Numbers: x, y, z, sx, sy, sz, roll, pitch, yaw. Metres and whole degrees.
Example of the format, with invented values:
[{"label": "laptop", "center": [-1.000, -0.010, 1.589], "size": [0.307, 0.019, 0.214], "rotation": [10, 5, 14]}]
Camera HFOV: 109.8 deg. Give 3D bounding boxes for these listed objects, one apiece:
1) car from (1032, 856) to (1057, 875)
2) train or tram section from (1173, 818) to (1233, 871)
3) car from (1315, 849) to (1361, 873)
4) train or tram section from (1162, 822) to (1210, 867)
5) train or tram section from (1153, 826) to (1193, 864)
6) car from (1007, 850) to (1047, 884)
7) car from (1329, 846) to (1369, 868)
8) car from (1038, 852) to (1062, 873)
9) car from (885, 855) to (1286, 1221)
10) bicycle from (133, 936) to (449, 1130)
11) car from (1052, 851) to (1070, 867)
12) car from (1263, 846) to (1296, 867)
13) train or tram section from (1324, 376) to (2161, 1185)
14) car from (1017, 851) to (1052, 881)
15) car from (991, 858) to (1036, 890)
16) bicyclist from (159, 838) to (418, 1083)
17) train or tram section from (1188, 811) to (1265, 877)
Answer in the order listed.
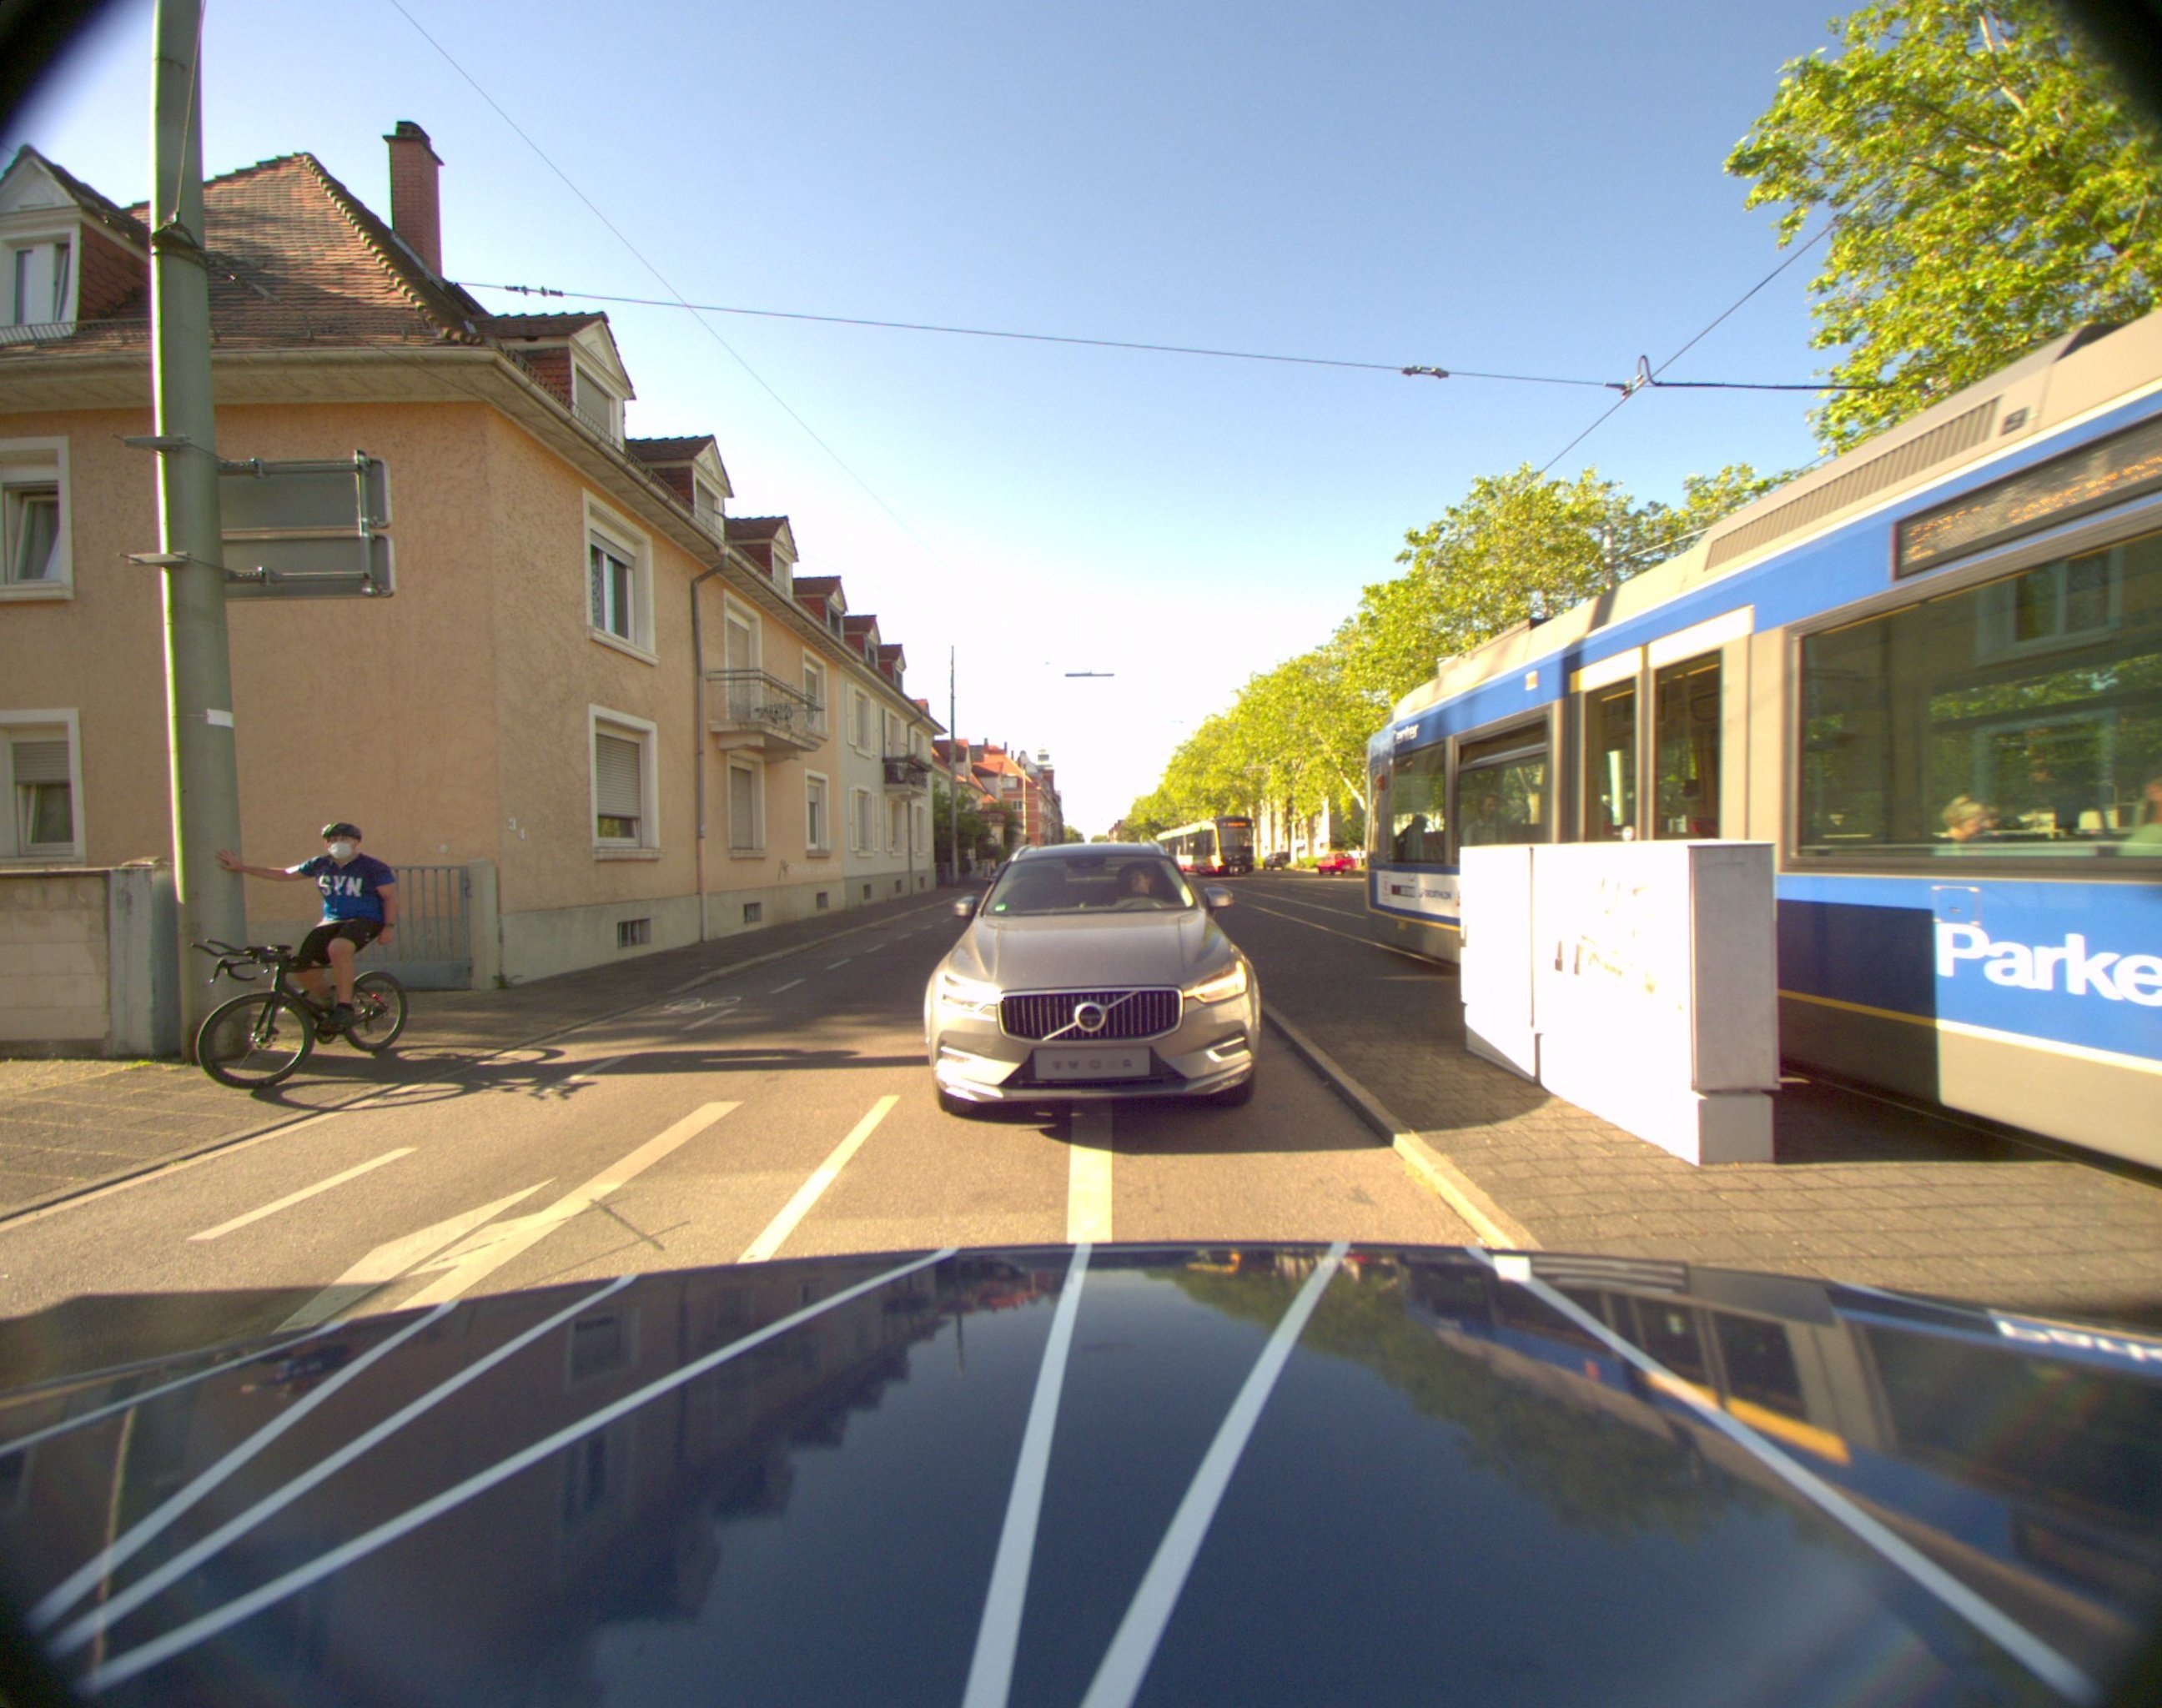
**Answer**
[{"label": "car", "center": [-2.875, 0.856, 60.424], "size": [1.808, 1.402, 3.999], "rotation": [-1, 0, -1]}, {"label": "train or tram section", "center": [8.820, -0.672, 56.225], "size": [2.843, 3.456, 10.182], "rotation": [-2, 1, 1]}, {"label": "car", "center": [16.965, 0.440, 50.328], "size": [1.845, 1.400, 4.001], "rotation": [-4, 0, 3]}, {"label": "train or tram section", "center": [8.981, -0.829, 66.354], "size": [2.843, 3.456, 10.182], "rotation": [-2, 1, 1]}, {"label": "train or tram section", "center": [9.145, -0.918, 76.517], "size": [2.843, 3.456, 10.182], "rotation": [-2, 1, 1]}, {"label": "car", "center": [-2.961, 0.683, 42.275], "size": [1.847, 1.742, 4.144], "rotation": [-1, 0, 0]}, {"label": "car", "center": [20.463, 0.206, 58.231], "size": [1.754, 1.582, 3.661], "rotation": [-3, 0, 1]}, {"label": "car", "center": [-2.670, 0.690, 65.788], "size": [1.847, 1.681, 4.000], "rotation": [-1, 0, 0]}, {"label": "car", "center": [0.003, 0.886, 5.806], "size": [1.892, 1.695, 4.318], "rotation": [-1, 0, -1]}, {"label": "bicycle", "center": [-5.931, 1.276, 5.874], "size": [0.594, 1.045, 1.719], "rotation": [4, 1, 1]}, {"label": "car", "center": [-2.238, 0.545, 85.502], "size": [1.999, 1.641, 4.658], "rotation": [-1, 0, -1]}, {"label": "car", "center": [17.173, 0.218, 65.913], "size": [1.845, 1.607, 4.098], "rotation": [-4, 0, 3]}, {"label": "train or tram section", "center": [4.958, -0.326, 7.263], "size": [2.821, 3.479, 7.962], "rotation": [-1, 0, 1]}, {"label": "car", "center": [-2.803, 0.701, 46.654], "size": [1.847, 1.681, 4.000], "rotation": [-1, 0, 0]}, {"label": "car", "center": [-3.226, 0.943, 36.995], "size": [1.847, 1.412, 3.999], "rotation": [-1, 0, -1]}, {"label": "bicyclist", "center": [-6.173, 0.776, 5.985], "size": [1.071, 1.728, 0.853], "rotation": [4, 1, 1]}, {"label": "train or tram section", "center": [8.586, -0.575, 46.048], "size": [2.862, 3.456, 10.182], "rotation": [-2, 1, 2]}]
